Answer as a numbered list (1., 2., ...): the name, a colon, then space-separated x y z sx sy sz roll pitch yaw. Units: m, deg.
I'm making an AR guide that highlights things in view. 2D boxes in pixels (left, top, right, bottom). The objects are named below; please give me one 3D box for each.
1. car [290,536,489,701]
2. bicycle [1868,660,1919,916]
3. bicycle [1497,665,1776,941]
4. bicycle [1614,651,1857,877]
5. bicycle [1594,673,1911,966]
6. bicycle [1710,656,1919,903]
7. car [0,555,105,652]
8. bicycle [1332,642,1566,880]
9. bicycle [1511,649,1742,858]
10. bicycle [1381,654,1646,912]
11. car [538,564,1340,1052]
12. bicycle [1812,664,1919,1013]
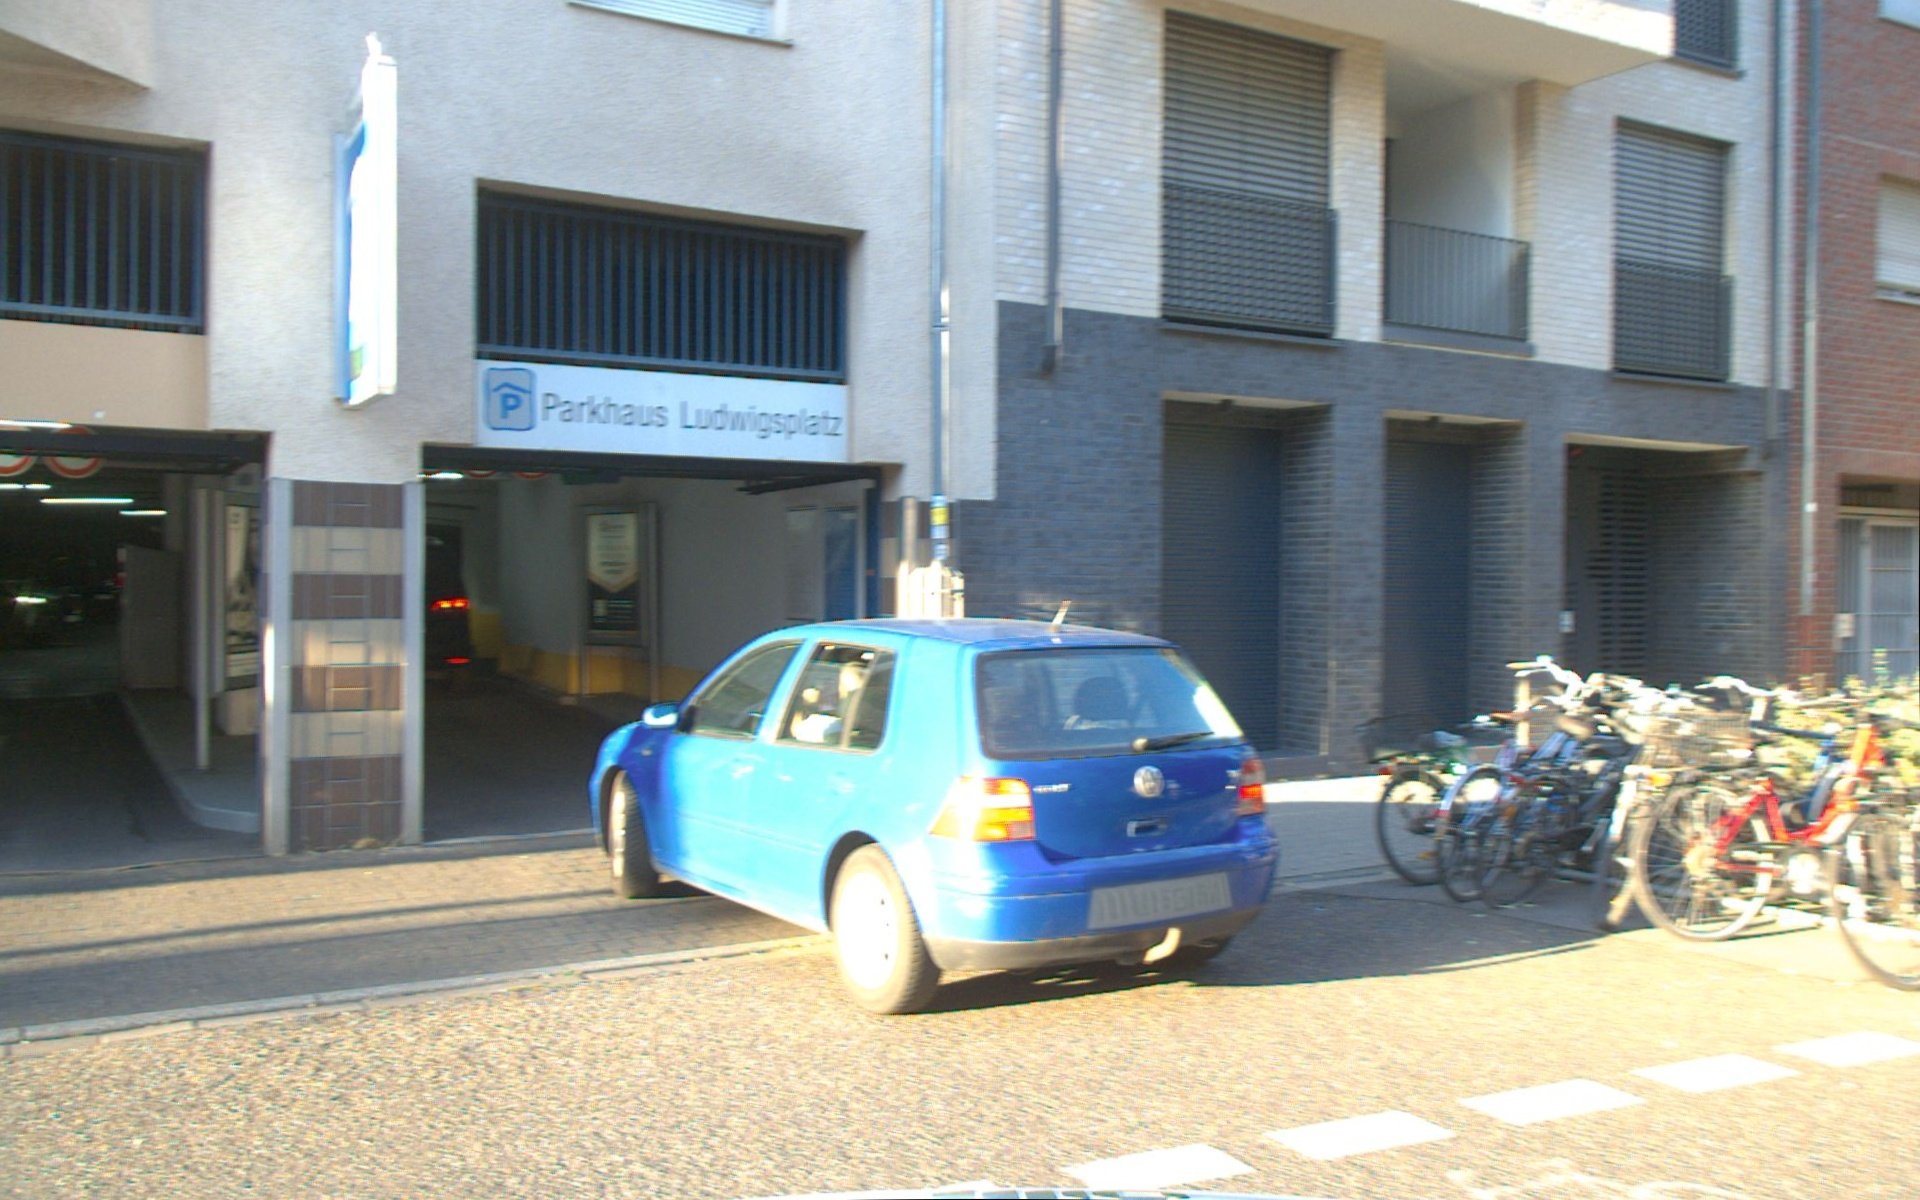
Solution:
1. car: -6.491 0.121 18.574 1.538 1.646 3.845 0 2 -28
2. bicycle: 5.172 0.895 8.173 1.531 1.183 0.484 0 1 -31
3. bicycle: 3.244 0.922 7.890 1.531 1.180 0.378 0 1 -31
4. bicycle: 4.435 0.894 9.428 1.531 1.164 0.464 0 1 -31
5. bicycle: 3.575 0.942 7.433 1.528 1.177 0.415 0 1 -26
6. bicycle: 4.681 0.907 8.767 1.531 1.169 0.484 0 1 -31
7. car: -17.687 0.029 29.146 4.202 1.652 1.889 1 1 -5
8. bicycle: 2.696 0.847 9.079 1.386 1.204 0.384 0 1 -31
9. bicycle: 4.048 0.890 10.008 1.531 1.151 0.454 0 1 -31
10. bicycle: 2.881 0.904 8.557 1.531 1.210 0.383 0 1 -31
11. car: -0.377 0.687 7.560 1.675 1.590 4.067 0 0 -36
12. bicycle: 4.081 0.885 6.571 1.531 1.242 0.494 0 1 -31
